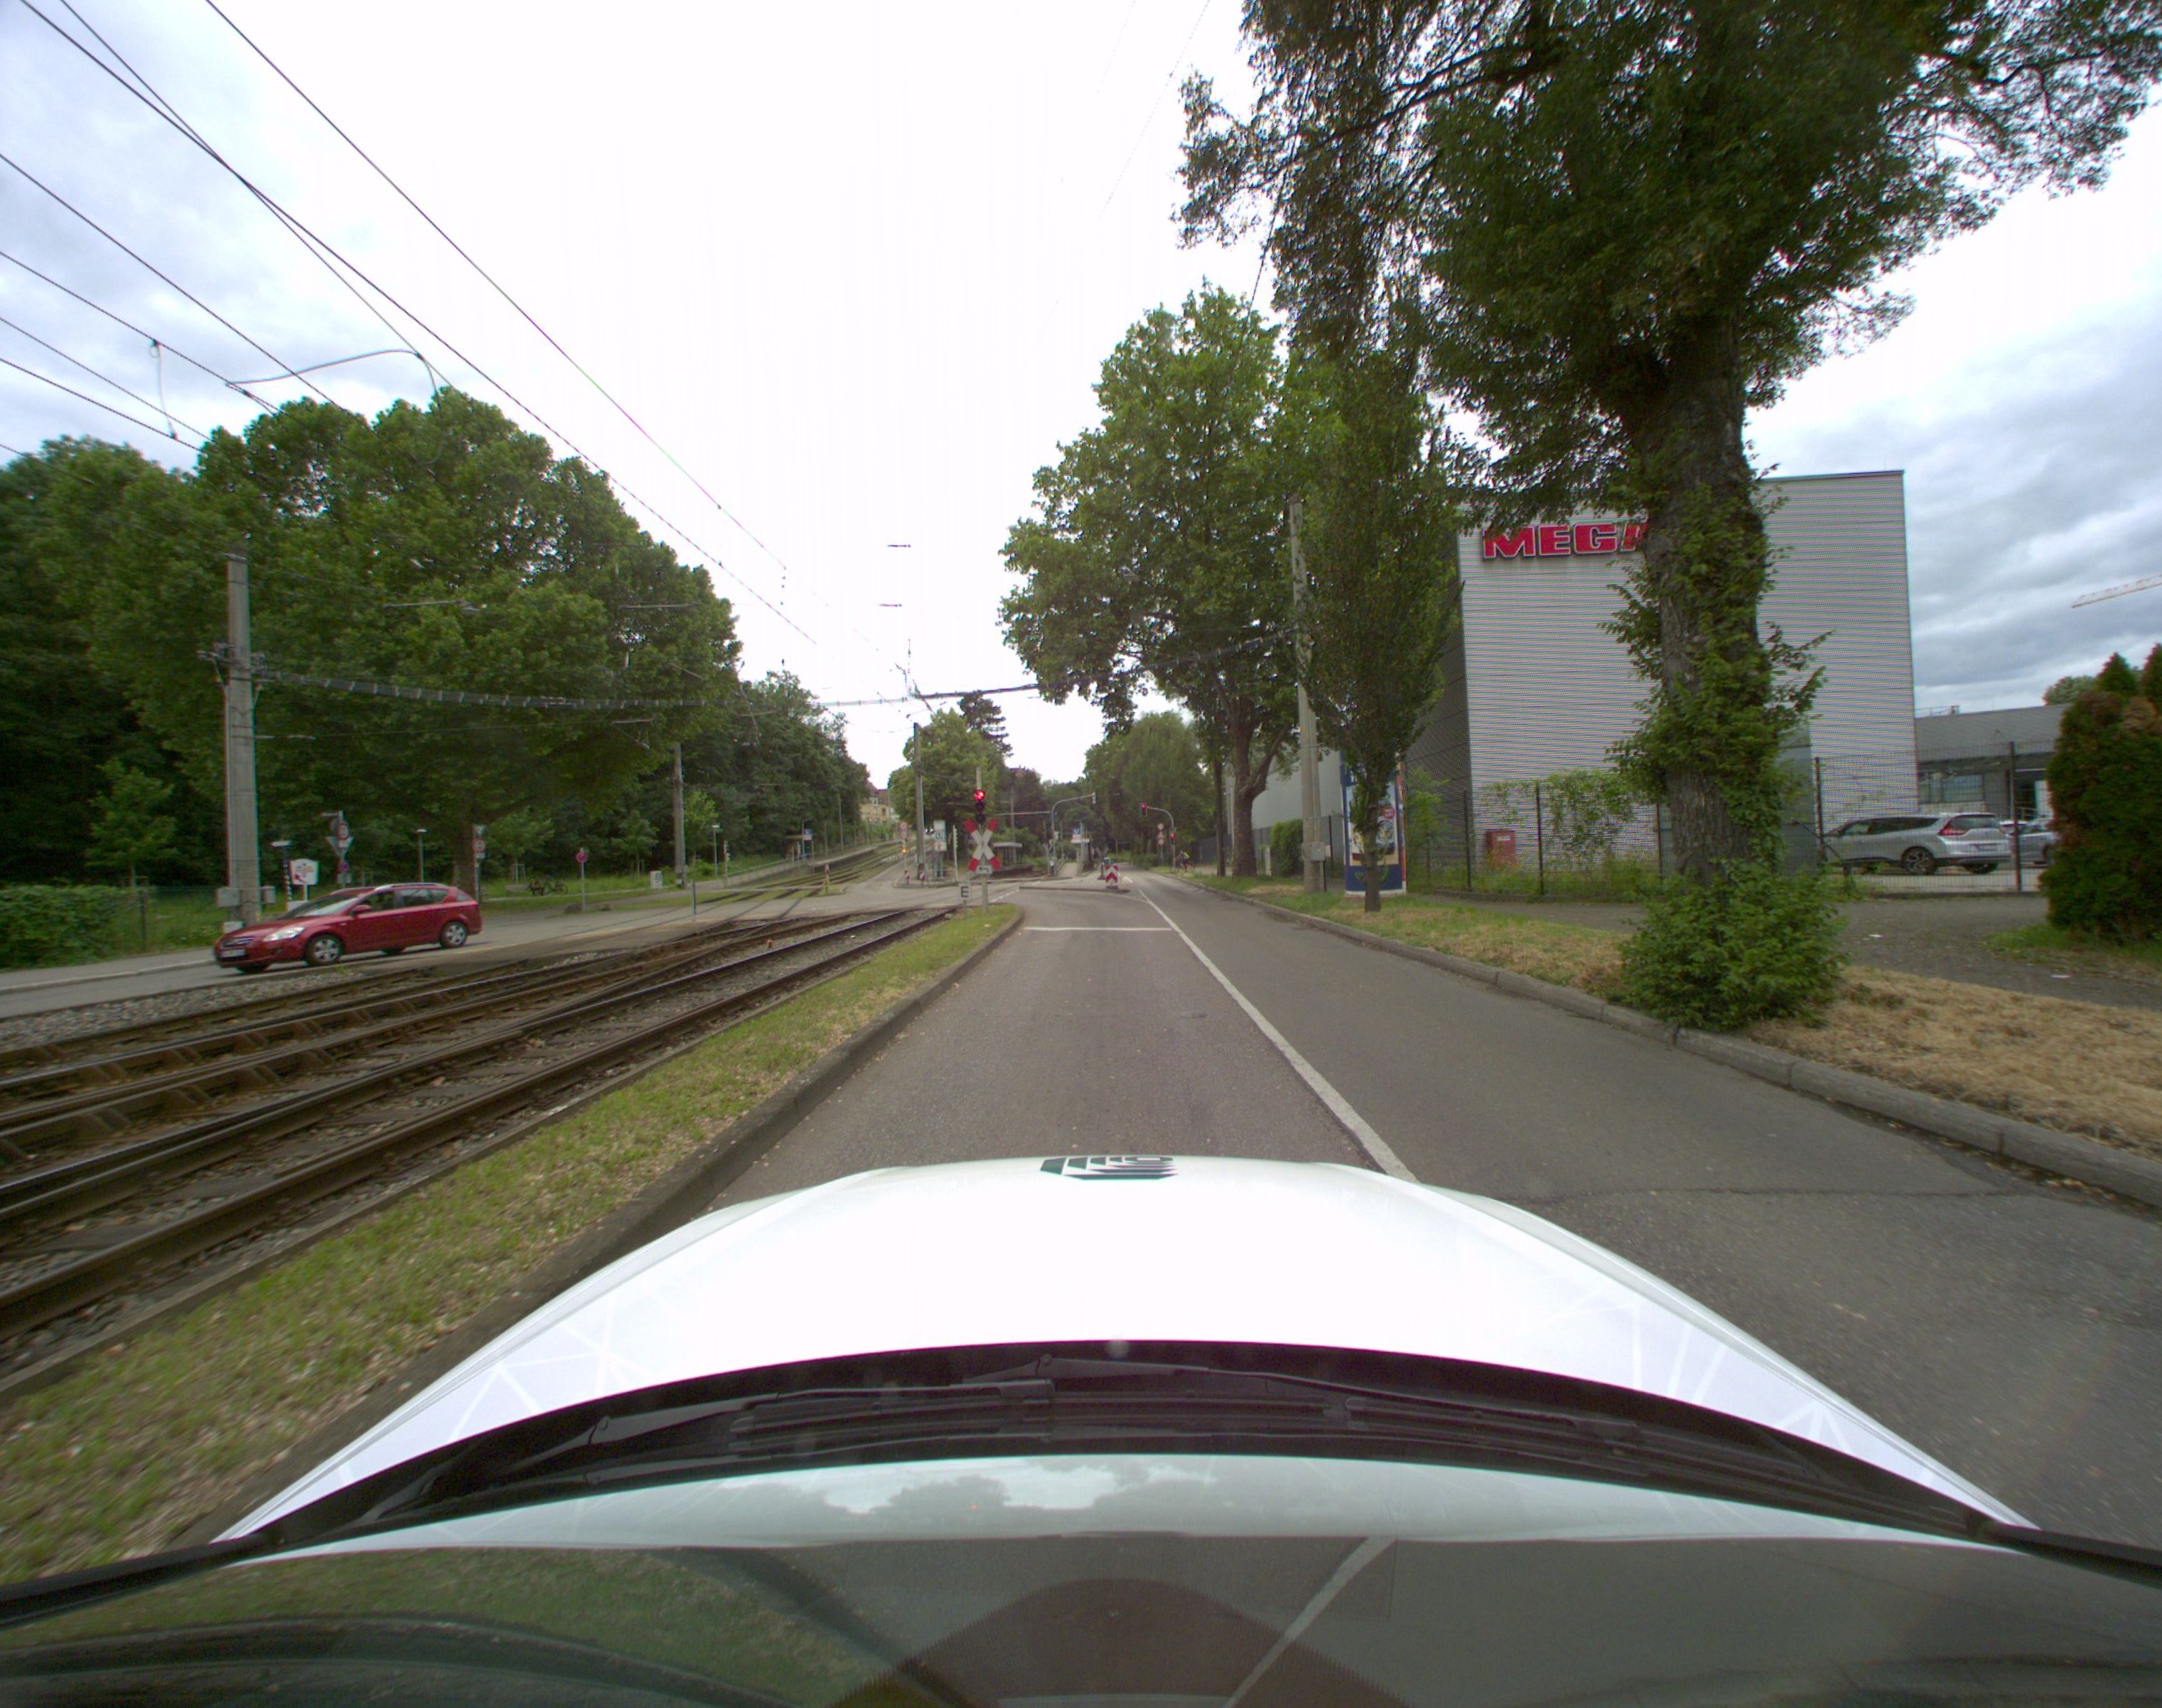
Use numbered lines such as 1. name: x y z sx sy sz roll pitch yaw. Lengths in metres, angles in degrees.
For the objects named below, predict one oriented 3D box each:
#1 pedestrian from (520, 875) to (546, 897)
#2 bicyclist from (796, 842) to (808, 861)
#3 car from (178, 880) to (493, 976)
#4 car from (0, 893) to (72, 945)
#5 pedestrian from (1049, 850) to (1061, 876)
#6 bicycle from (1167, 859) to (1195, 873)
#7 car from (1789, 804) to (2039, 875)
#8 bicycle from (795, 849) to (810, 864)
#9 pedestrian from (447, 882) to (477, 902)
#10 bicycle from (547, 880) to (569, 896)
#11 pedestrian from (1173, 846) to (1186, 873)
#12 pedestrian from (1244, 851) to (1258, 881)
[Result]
1. pedestrian: -33.267 1.935 49.427 1.102 1.268 1.063 -1 -2 39
2. bicyclist: -28.197 -0.304 82.288 0.820 1.848 1.049 -2 2 -6
3. car: -15.100 1.419 16.936 1.981 1.515 4.513 -2 0 9
4. car: -42.626 2.594 30.885 2.325 1.888 5.115 -2 0 29
5. pedestrian: -1.883 0.670 58.869 0.766 1.852 0.909 -3 -1 -2
6. bicycle: 7.647 0.928 62.392 2.063 1.007 0.669 -3 -1 7
7. car: 22.400 -0.352 22.239 1.988 1.675 4.634 -2 0 -2
8. bicycle: -28.198 0.278 82.504 0.823 1.343 2.990 -3 3 -7
9. pedestrian: -34.747 2.128 45.712 0.894 1.095 1.088 -1 -2 37
10. bicycle: -32.286 2.093 50.290 1.631 1.012 0.680 -1 -2 39
11. pedestrian: 7.544 0.438 62.413 0.926 2.013 0.669 -3 -1 8
12. pedestrian: 9.250 0.643 44.329 0.662 1.553 0.936 -3 -1 7
